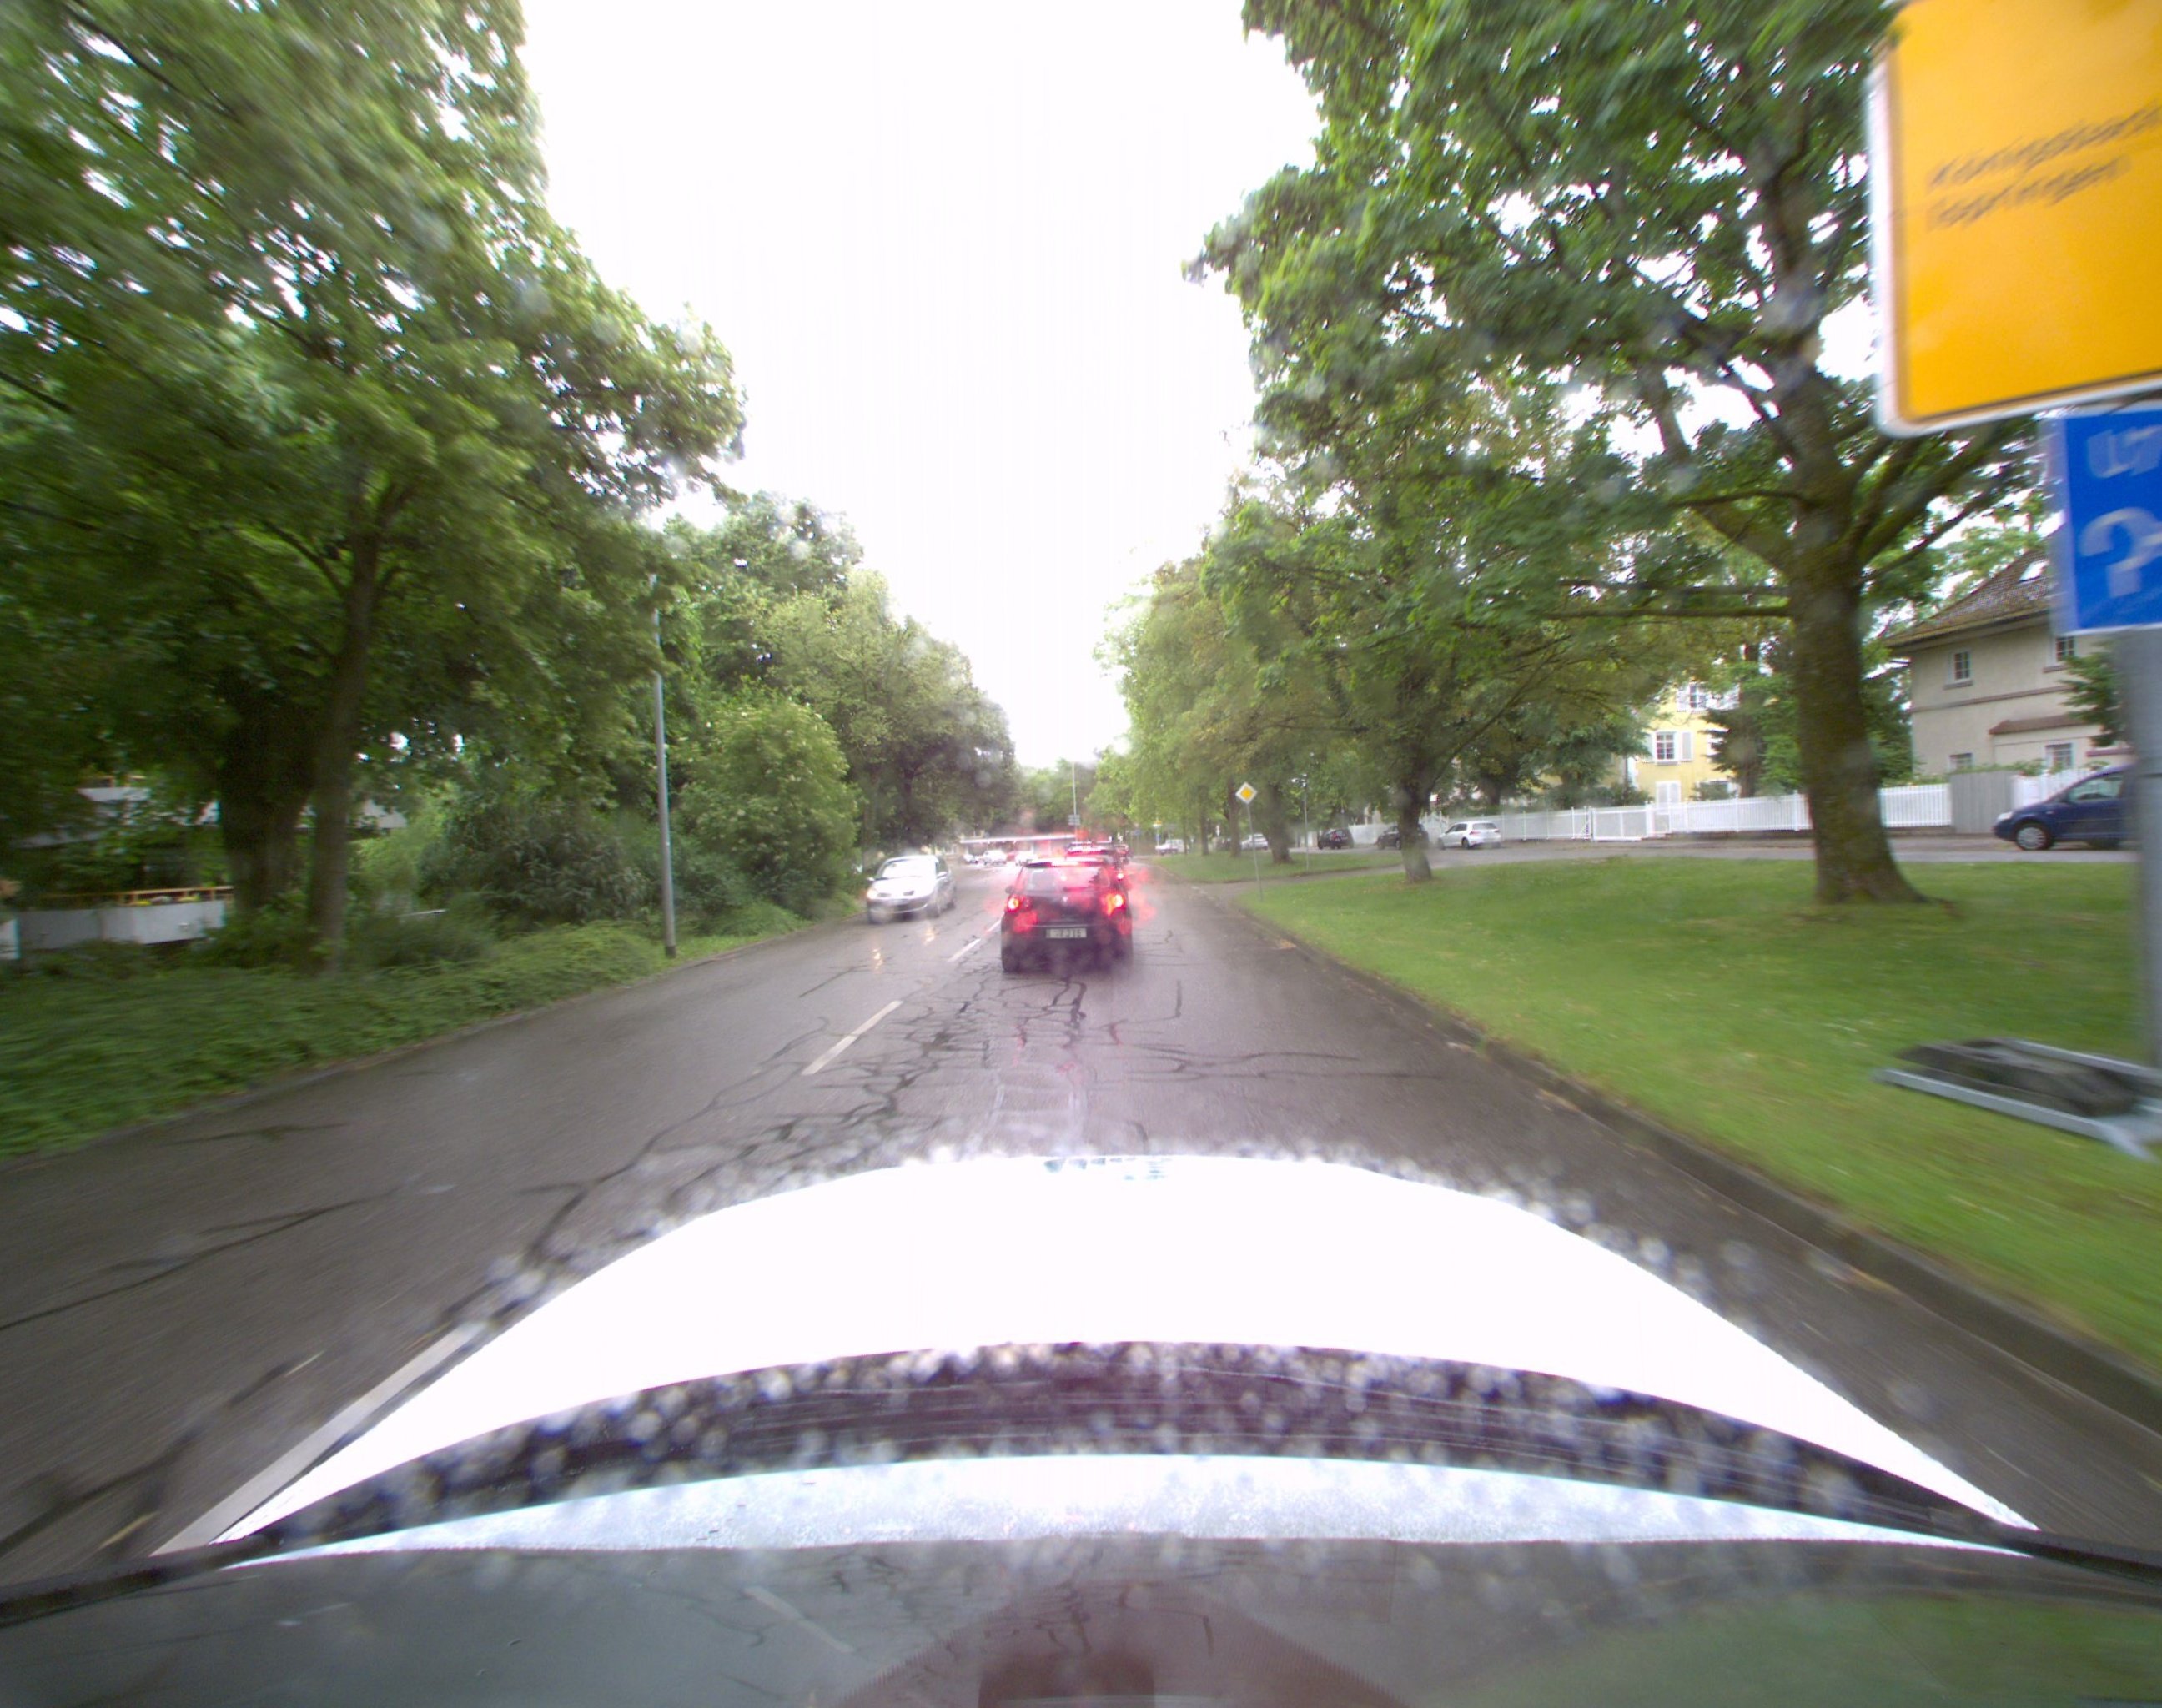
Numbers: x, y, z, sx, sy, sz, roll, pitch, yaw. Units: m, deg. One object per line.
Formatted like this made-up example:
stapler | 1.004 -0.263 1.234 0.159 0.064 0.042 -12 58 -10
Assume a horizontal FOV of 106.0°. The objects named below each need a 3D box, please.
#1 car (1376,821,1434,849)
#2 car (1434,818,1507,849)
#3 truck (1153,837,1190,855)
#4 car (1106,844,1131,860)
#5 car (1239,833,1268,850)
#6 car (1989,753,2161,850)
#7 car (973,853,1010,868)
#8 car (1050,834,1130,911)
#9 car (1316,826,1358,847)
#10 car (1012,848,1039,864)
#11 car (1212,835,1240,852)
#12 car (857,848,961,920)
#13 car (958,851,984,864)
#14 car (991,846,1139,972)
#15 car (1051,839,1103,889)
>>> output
car | 19.746 -1.151 49.766 1.797 1.529 4.111 -4 1 -1
car | 20.057 -1.034 42.115 1.613 1.409 4.005 -4 1 -4
truck | 11.471 -1.007 102.939 2.393 2.004 5.184 -3 0 33
car | 4.025 -0.220 87.905 1.693 1.513 3.690 -3 0 18
car | 15.753 -1.172 74.703 1.797 1.406 4.002 -5 1 1
car | 21.228 -1.069 15.790 1.936 1.809 4.646 -4 1 -1
car | -10.465 0.735 95.238 3.757 1.618 1.788 -2 0 23
car | 0.285 0.439 21.779 1.848 1.784 4.002 -3 0 2
car | 19.394 -1.318 61.818 1.797 1.411 4.111 -4 1 -1
car | -5.578 0.199 81.678 1.613 1.427 3.982 -4 1 -19
car | 13.271 -0.981 74.629 1.797 1.385 4.002 -5 1 1
car | -4.422 0.704 21.616 1.758 1.614 4.141 -4 0 0
car | -14.841 0.483 109.677 1.810 1.393 3.936 -5 1 -34
car | -0.138 0.680 11.928 1.792 1.515 3.755 -1 0 2
car | -0.104 0.384 32.645 1.848 1.784 4.002 -3 0 2
